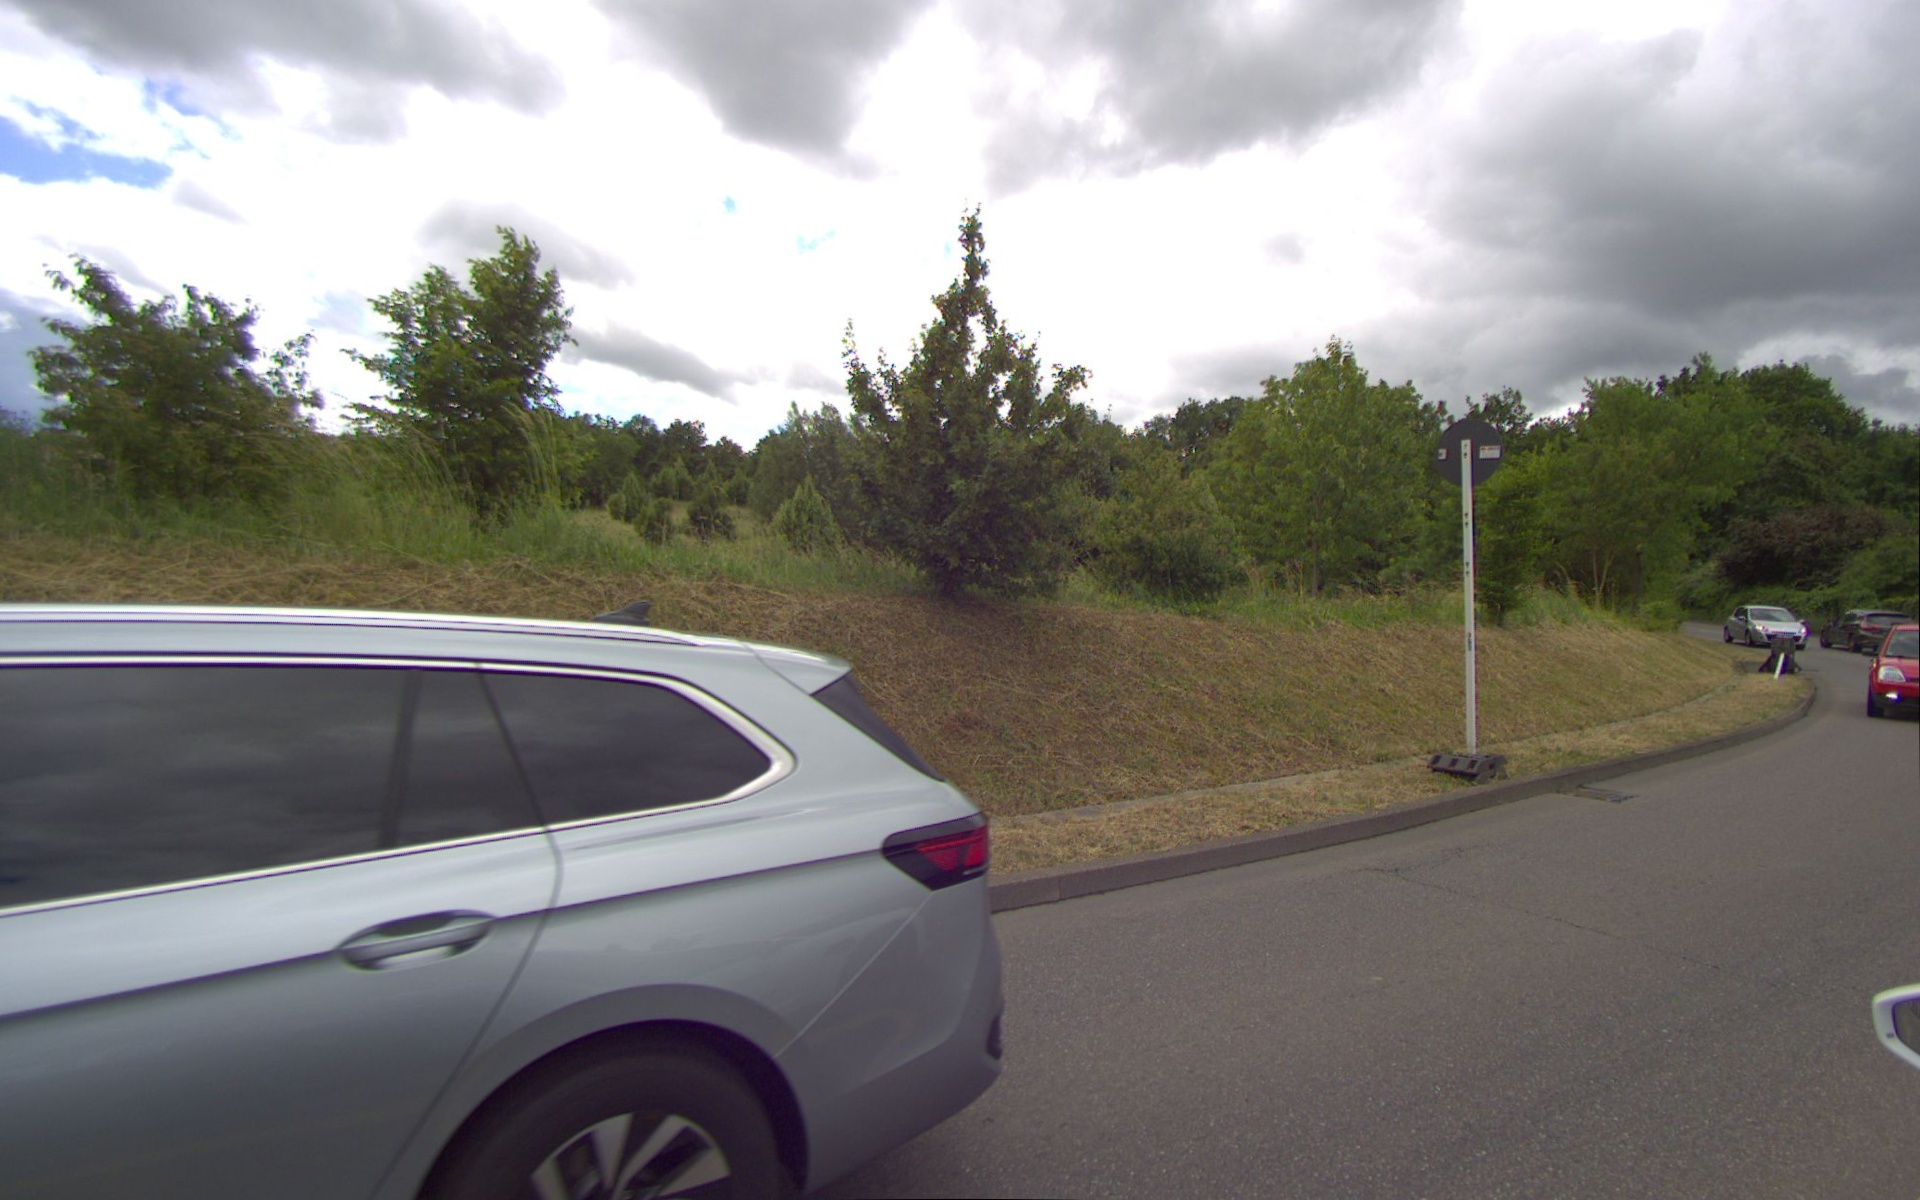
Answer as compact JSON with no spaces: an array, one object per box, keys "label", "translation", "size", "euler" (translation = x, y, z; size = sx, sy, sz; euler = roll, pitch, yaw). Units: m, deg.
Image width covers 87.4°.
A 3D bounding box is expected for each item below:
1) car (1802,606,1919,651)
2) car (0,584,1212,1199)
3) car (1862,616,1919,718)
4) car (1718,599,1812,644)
[{"label":"car","translation":[32.272,0.968,36.118],"size":[1.809,1.503,3.999],"euler":[0,0,21]},{"label":"car","translation":[-1.771,0.739,2.148],"size":[4.549,1.497,1.872],"euler":[0,-1,-32]},{"label":"car","translation":[15.910,1.056,16.379],"size":[1.721,1.435,3.733],"euler":[2,2,41]},{"label":"car","translation":[29.734,0.768,37.230],"size":[1.746,1.515,3.911],"euler":[1,0,24]}]
